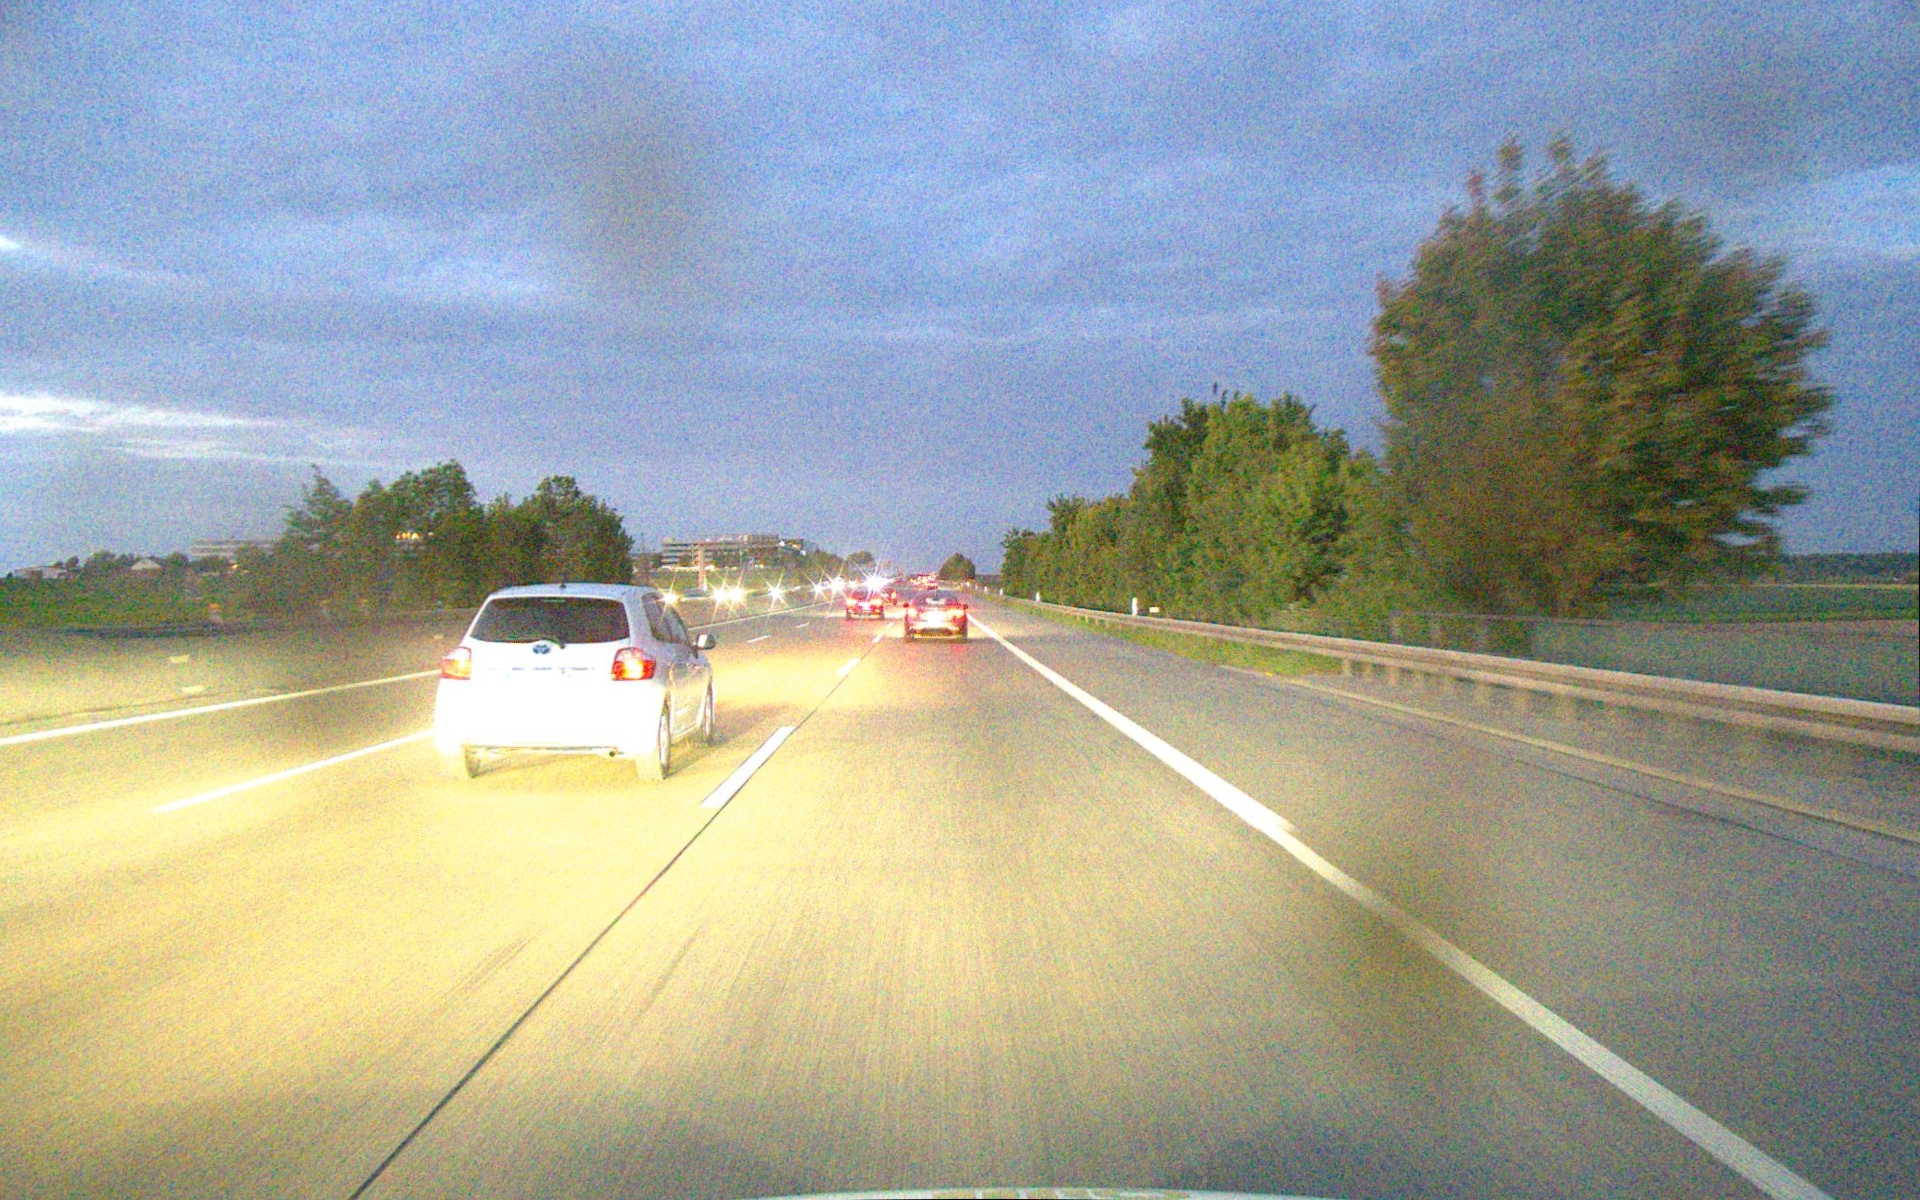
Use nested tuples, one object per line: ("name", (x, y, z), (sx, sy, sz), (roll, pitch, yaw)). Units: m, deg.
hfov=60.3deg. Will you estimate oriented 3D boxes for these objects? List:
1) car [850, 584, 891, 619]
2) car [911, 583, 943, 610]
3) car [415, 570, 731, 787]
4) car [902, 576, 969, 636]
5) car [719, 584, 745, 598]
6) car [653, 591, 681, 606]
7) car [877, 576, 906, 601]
("car", (-4.228, 0.065, 78.371), (1.842, 1.579, 3.998), (1, 0, -2))
("car", (-2.022, -0.215, 99.625), (1.842, 1.579, 3.998), (1, 0, -2))
("car", (-3.114, 0.567, 14.204), (1.709, 1.551, 4.413), (1, 0, -1))
("car", (-0.740, 0.168, 48.566), (1.842, 1.672, 3.999), (1, 0, -2))
("car", (-21.065, -0.805, 152.965), (1.892, 1.199, 3.999), (1, 0, -1))
("car", (-24.519, -0.131, 138.641), (1.683, 1.199, 3.999), (1, 0, -1))
("car", (-5.367, -0.873, 130.165), (2.154, 1.912, 3.999), (1, 0, -2))
